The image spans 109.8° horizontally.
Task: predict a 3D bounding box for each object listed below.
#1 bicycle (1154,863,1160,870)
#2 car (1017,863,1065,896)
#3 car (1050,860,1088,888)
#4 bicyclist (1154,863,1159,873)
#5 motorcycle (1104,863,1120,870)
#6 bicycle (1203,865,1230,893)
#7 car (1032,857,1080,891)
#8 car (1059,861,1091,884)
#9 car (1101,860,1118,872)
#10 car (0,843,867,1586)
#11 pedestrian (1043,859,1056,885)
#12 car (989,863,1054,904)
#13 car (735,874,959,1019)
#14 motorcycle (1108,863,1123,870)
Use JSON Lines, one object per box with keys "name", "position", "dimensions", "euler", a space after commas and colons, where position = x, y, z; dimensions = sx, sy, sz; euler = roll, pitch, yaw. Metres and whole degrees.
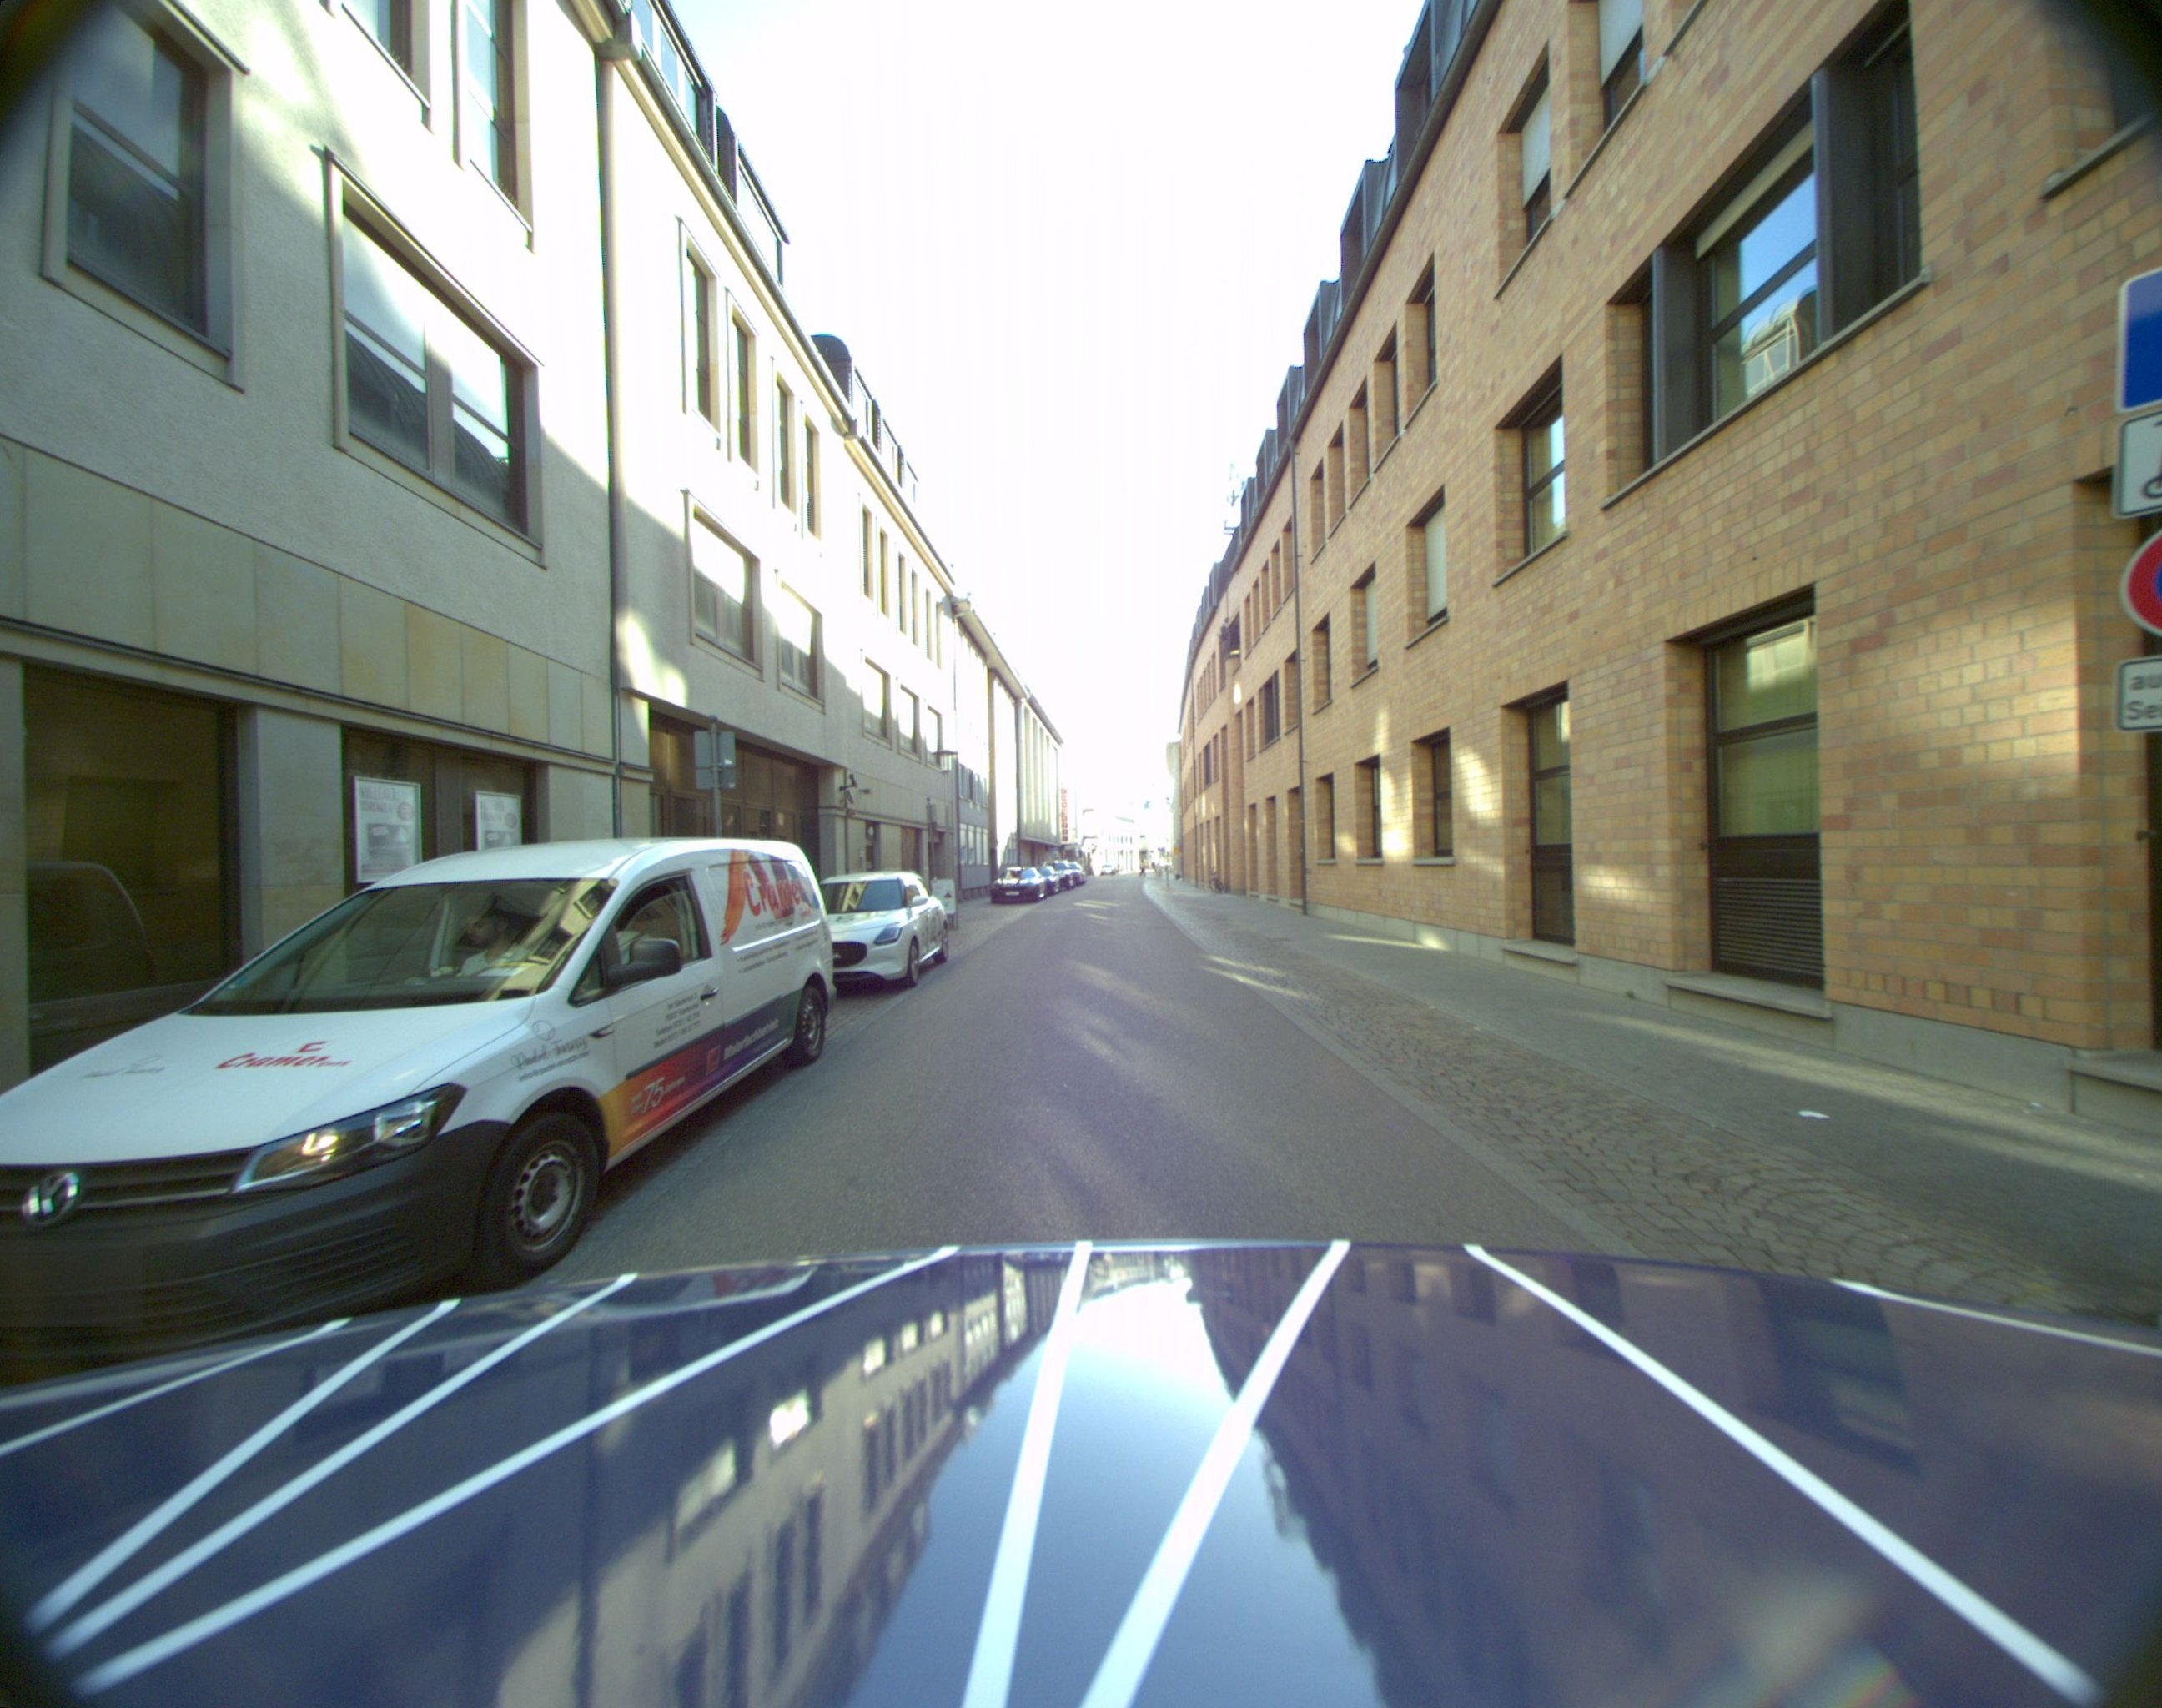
{"name": "bicycle", "position": [12.826, 2.183, 128.900], "dimensions": [0.651, 1.125, 1.738], "euler": [3, 1, 17]}
{"name": "car", "position": [-1.913, 1.239, 37.878], "dimensions": [1.811, 1.404, 4.791], "euler": [-3, 0, 3]}
{"name": "car", "position": [-0.766, 1.284, 51.354], "dimensions": [1.998, 1.692, 4.845], "euler": [-4, -1, 5]}
{"name": "bicyclist", "position": [12.796, 2.425, 128.841], "dimensions": [0.663, 1.633, 0.927], "euler": [2, 1, 17]}
{"name": "motorcycle", "position": [4.238, 1.752, 104.246], "dimensions": [1.995, 0.950, 0.646], "euler": [-2, 0, 19]}
{"name": "bicycle", "position": [5.938, 1.091, 33.279], "dimensions": [0.633, 1.155, 1.803], "euler": [-4, 0, -5]}
{"name": "car", "position": [-1.375, 1.091, 44.040], "dimensions": [2.108, 1.775, 5.054], "euler": [-3, 0, 5]}
{"name": "car", "position": [-0.418, 1.330, 56.830], "dimensions": [1.827, 1.495, 4.602], "euler": [-4, -1, 5]}
{"name": "car", "position": [3.708, 1.481, 97.042], "dimensions": [1.846, 1.453, 4.001], "euler": [-3, 0, 6]}
{"name": "car", "position": [-2.924, 0.907, 4.443], "dimensions": [1.835, 1.780, 5.213], "euler": [-2, 0, -1]}
{"name": "pedestrian", "position": [-2.193, 1.237, 52.422], "dimensions": [0.790, 1.711, 0.747], "euler": [1, 0, 4]}
{"name": "car", "position": [-2.384, 1.159, 31.859], "dimensions": [1.898, 1.444, 5.227], "euler": [-3, 0, 4]}
{"name": "car", "position": [-3.000, 1.106, 10.750], "dimensions": [1.845, 1.469, 4.168], "euler": [-4, 0, -1]}
{"name": "motorcycle", "position": [4.910, 1.844, 108.107], "dimensions": [1.995, 0.950, 0.646], "euler": [-2, 0, 19]}
